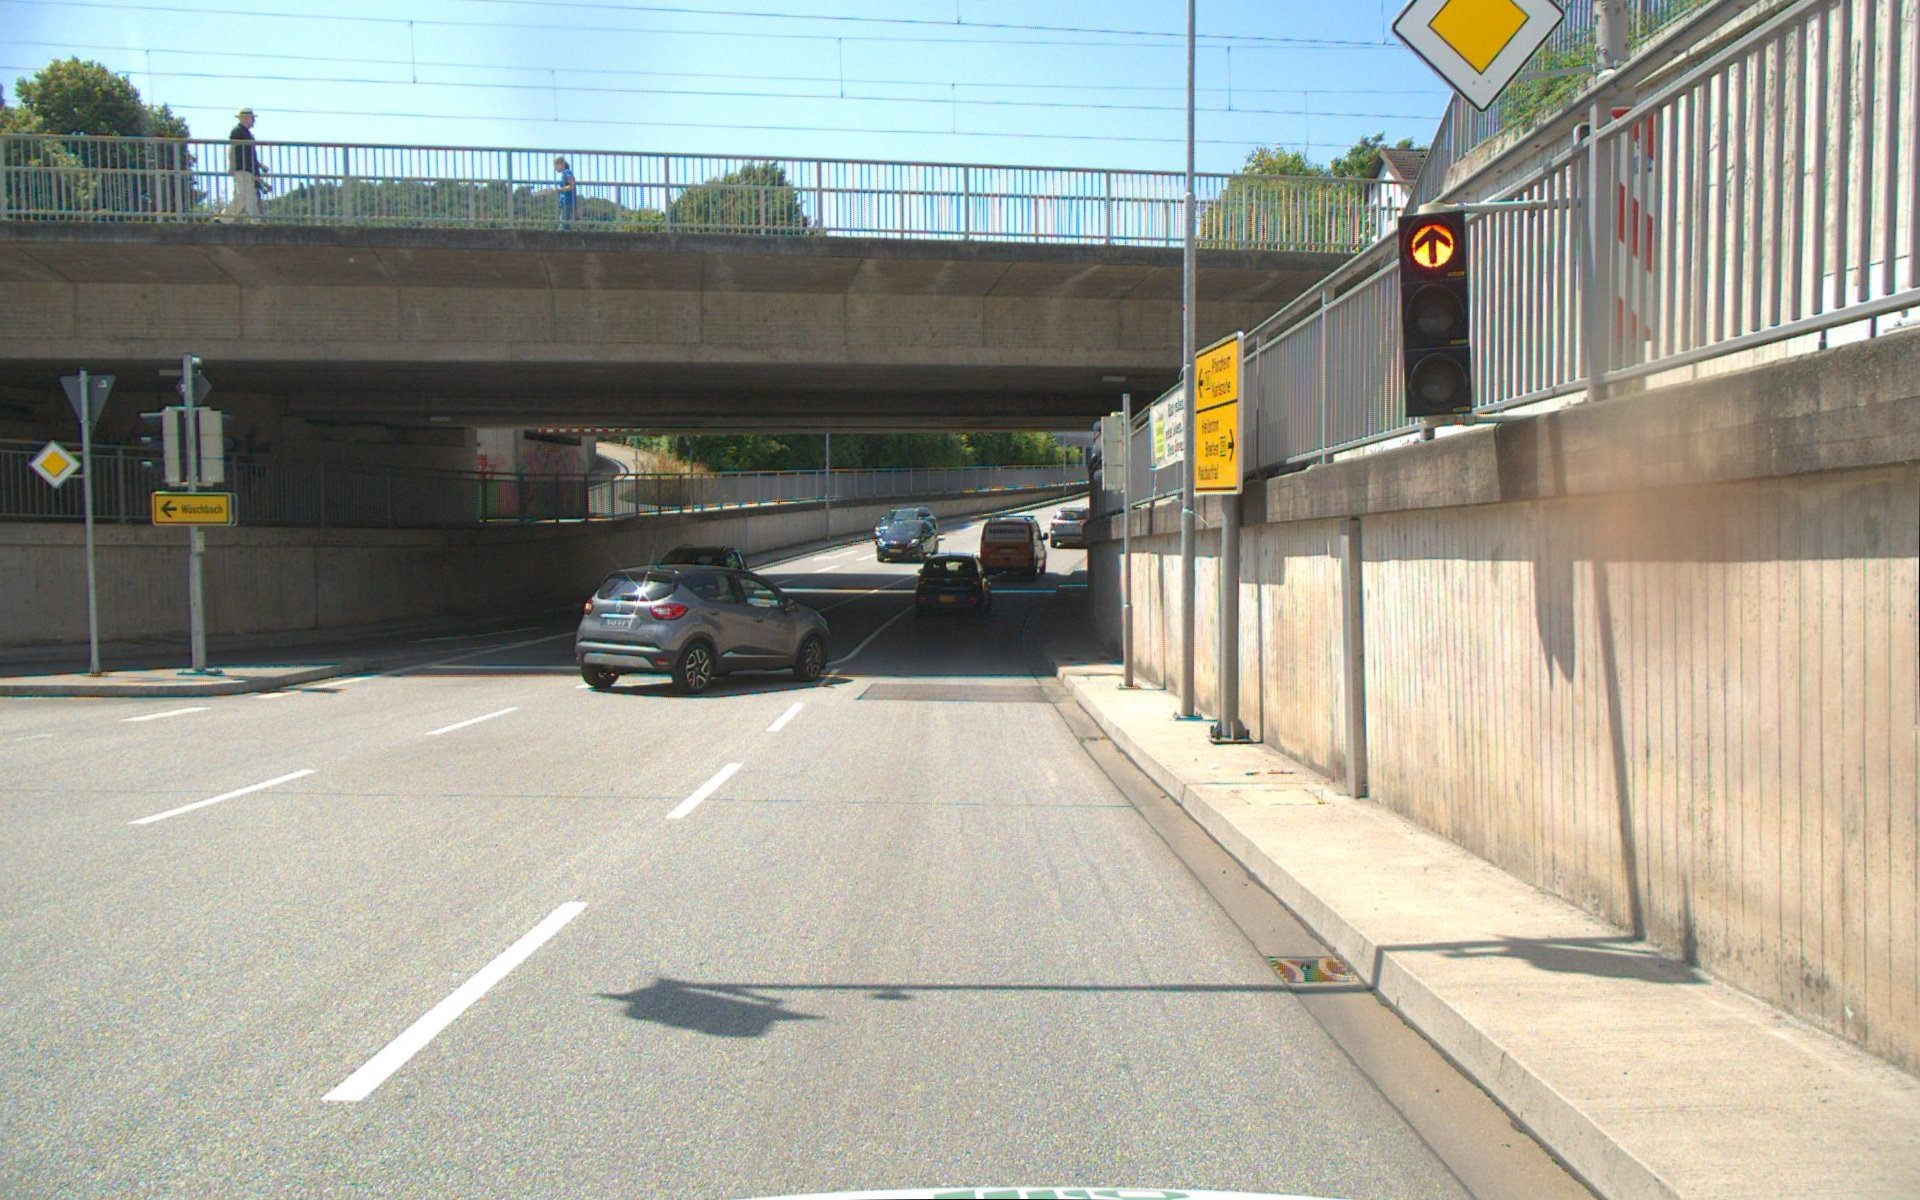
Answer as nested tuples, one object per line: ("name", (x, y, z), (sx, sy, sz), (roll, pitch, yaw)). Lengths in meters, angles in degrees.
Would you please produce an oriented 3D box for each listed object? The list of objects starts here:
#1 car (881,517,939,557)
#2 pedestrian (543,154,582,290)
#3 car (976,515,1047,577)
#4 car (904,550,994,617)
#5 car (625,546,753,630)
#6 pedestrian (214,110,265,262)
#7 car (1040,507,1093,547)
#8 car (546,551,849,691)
("car", (-1.868, -2.406, 62.588), (1.744, 1.461, 4.003), (0, 3, 5))
("pedestrian", (-6.587, -6.256, 27.419), (0.529, 2.117, 0.534), (-1, 0, -8))
("car", (1.764, -1.834, 55.166), (1.833, 1.965, 4.724), (1, 3, 8))
("car", (-0.218, -0.439, 40.373), (1.952, 1.534, 4.003), (0, 2, 3))
("car", (-5.737, -0.309, 35.488), (1.952, 1.655, 4.002), (0, 3, 2))
("pedestrian", (-10.724, -6.143, 24.621), (0.565, 2.117, 0.534), (-1, 0, -11))
("car", (4.541, -3.100, 70.069), (1.765, 1.646, 4.004), (1, 2, 10))
("car", (-3.402, 0.184, 22.144), (1.957, 1.616, 3.993), (2, 3, 30))
